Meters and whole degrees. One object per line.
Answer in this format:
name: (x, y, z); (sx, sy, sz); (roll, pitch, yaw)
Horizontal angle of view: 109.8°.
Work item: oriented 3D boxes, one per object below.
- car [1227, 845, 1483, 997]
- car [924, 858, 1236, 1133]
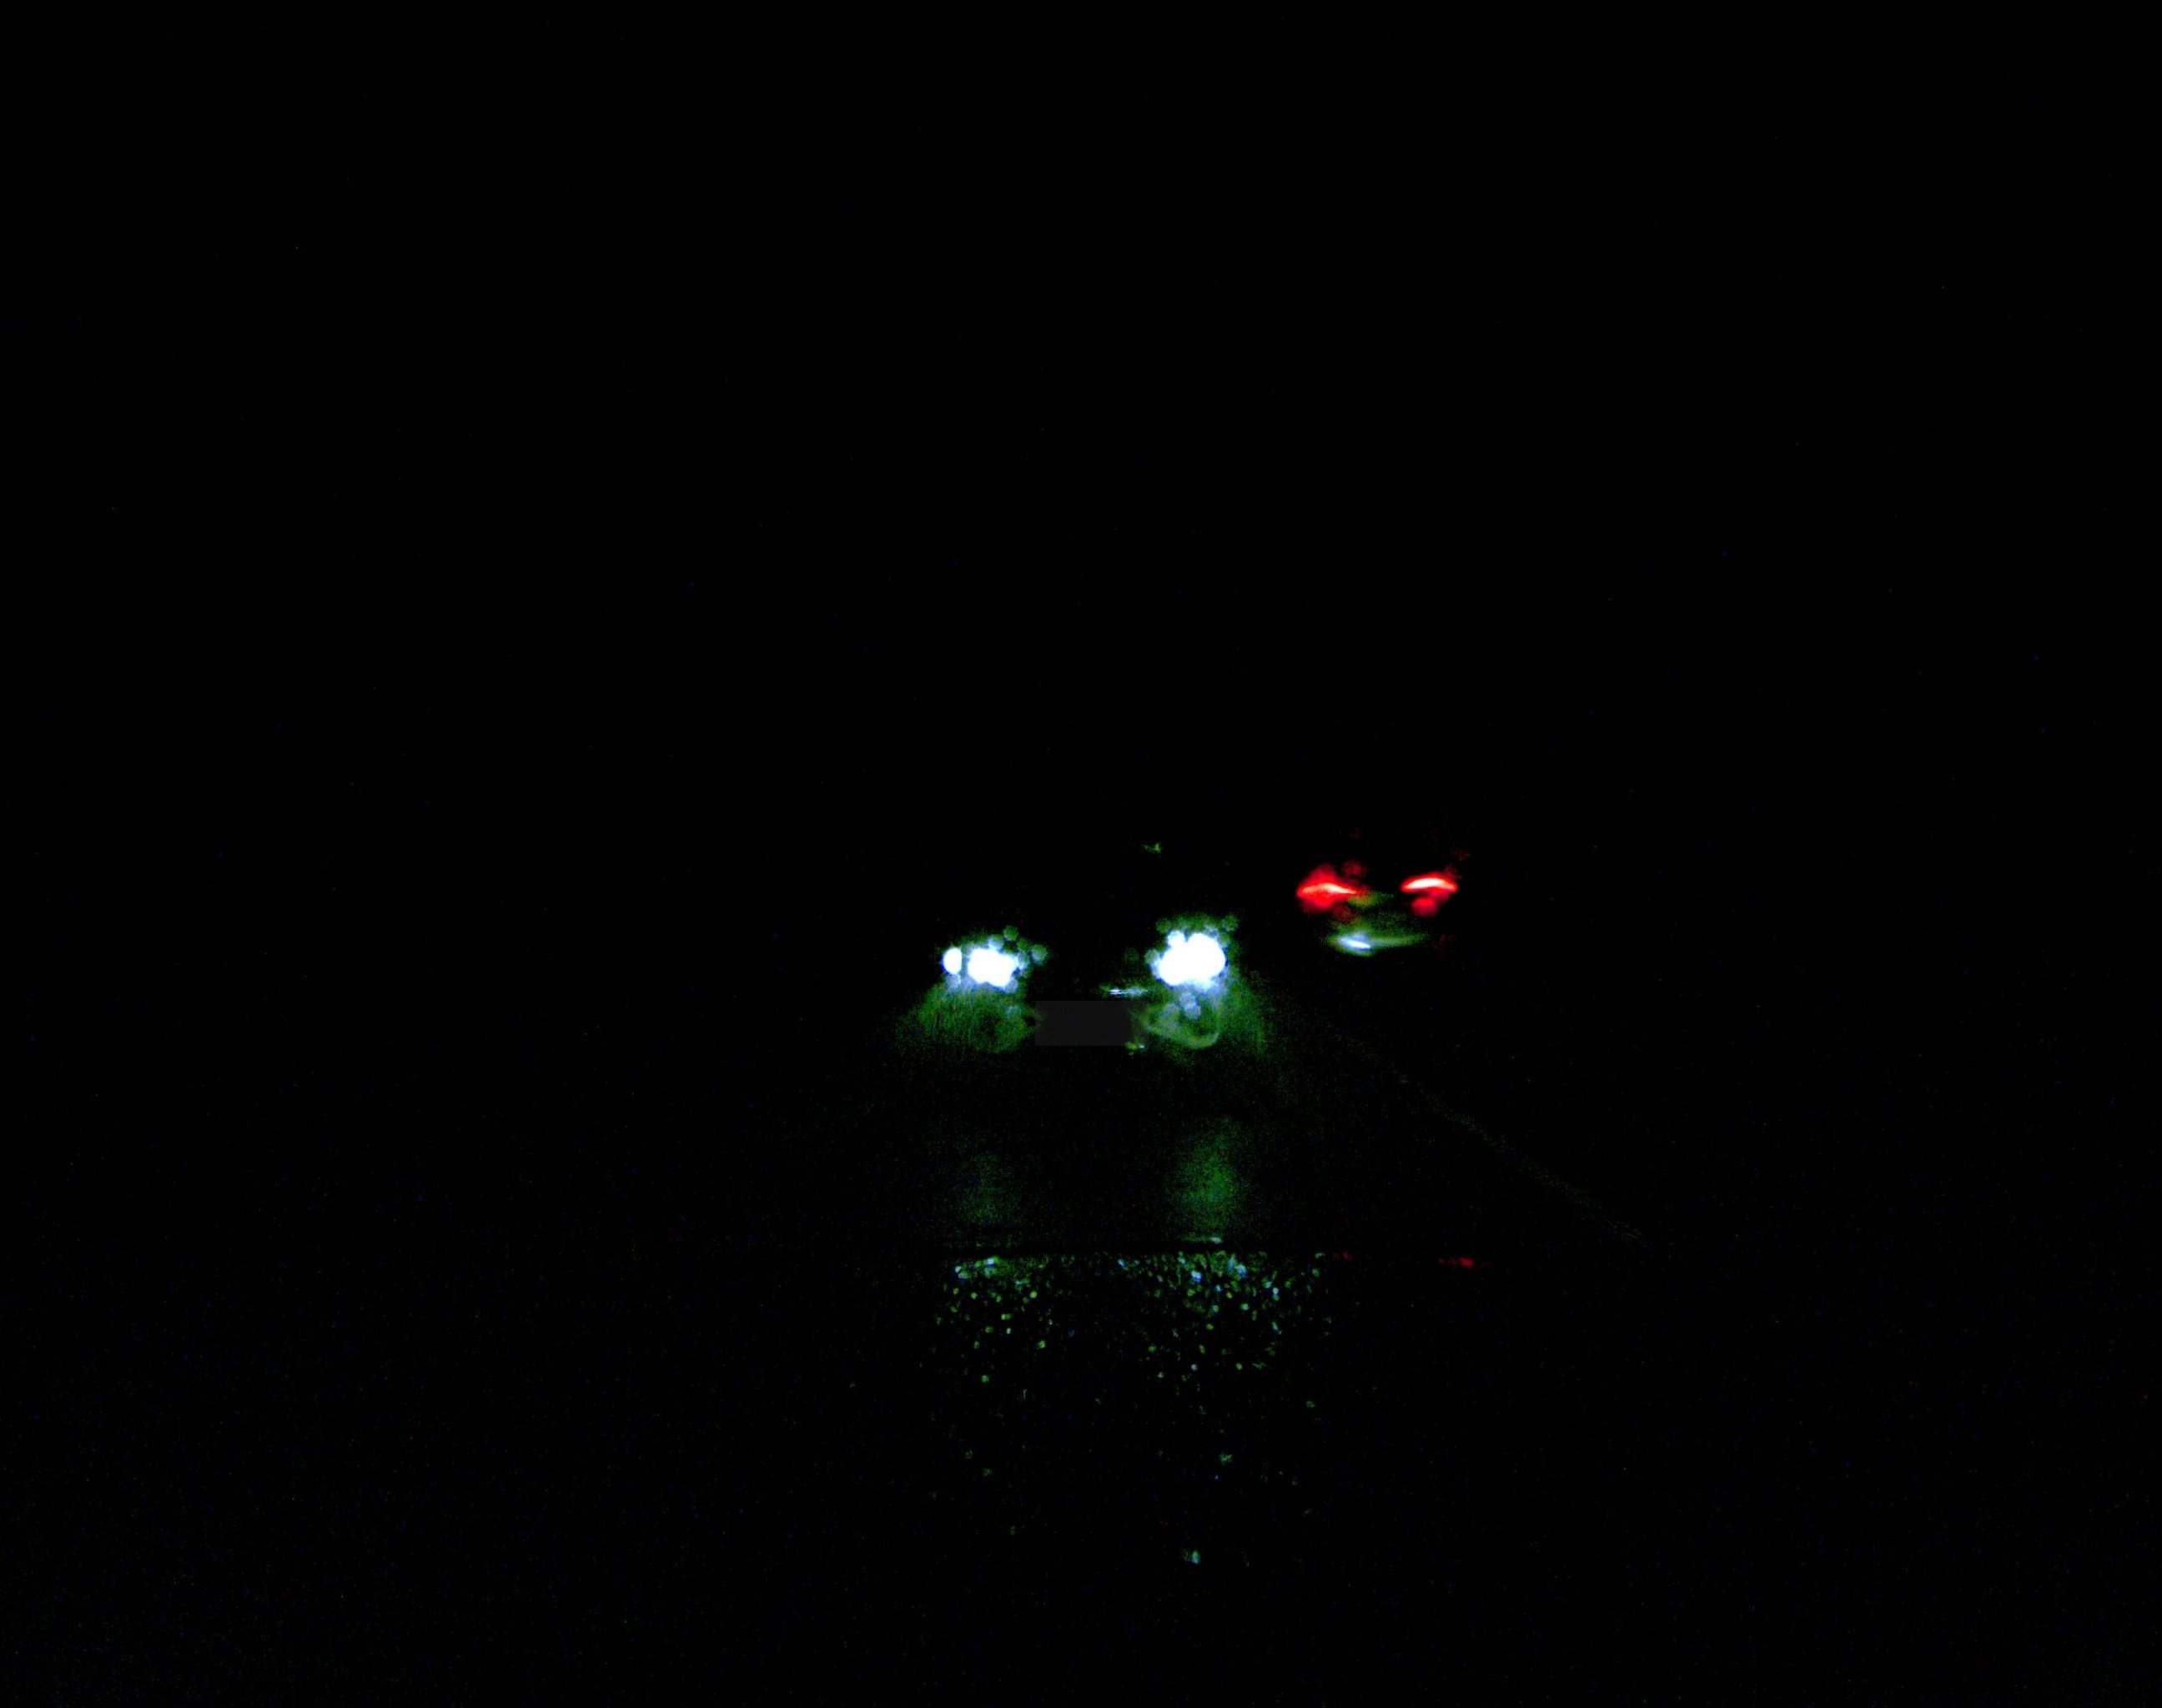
car: (3.408, 0.732, 10.387); (1.957, 1.646, 4.124); (-1, 0, -1)
car: (0.091, 0.884, 6.616); (1.845, 1.565, 4.000); (-2, 1, 3)
